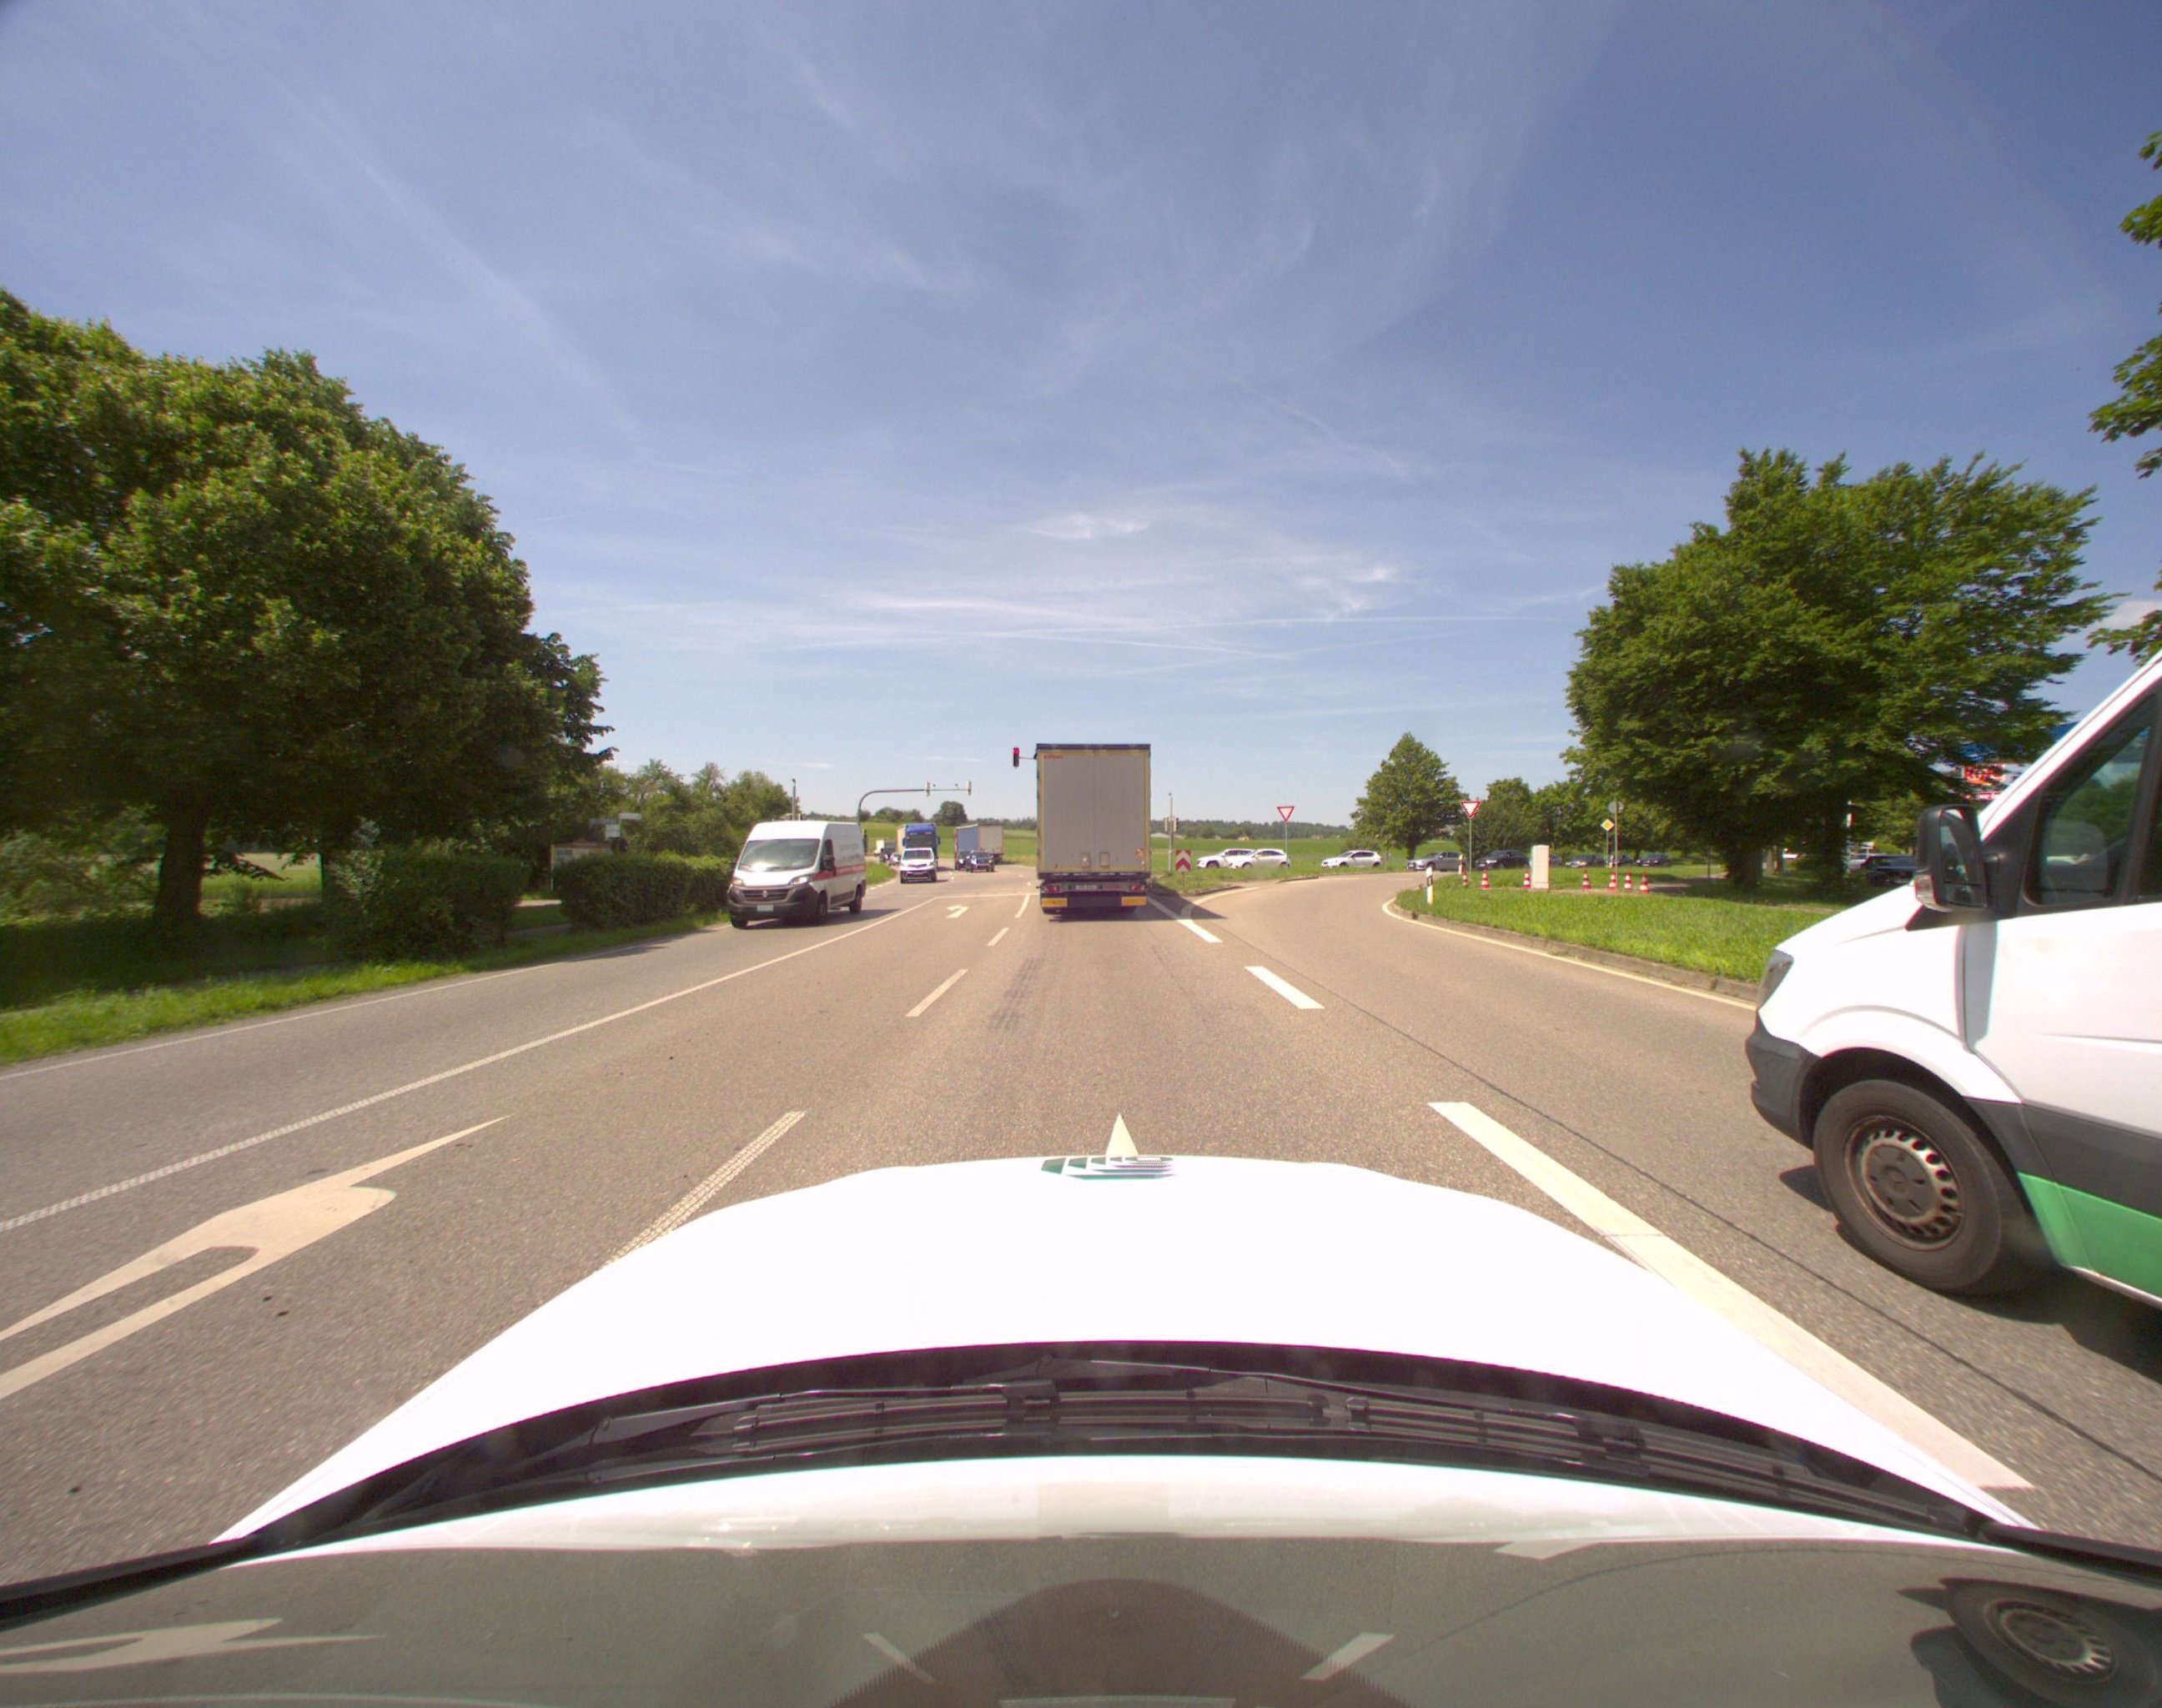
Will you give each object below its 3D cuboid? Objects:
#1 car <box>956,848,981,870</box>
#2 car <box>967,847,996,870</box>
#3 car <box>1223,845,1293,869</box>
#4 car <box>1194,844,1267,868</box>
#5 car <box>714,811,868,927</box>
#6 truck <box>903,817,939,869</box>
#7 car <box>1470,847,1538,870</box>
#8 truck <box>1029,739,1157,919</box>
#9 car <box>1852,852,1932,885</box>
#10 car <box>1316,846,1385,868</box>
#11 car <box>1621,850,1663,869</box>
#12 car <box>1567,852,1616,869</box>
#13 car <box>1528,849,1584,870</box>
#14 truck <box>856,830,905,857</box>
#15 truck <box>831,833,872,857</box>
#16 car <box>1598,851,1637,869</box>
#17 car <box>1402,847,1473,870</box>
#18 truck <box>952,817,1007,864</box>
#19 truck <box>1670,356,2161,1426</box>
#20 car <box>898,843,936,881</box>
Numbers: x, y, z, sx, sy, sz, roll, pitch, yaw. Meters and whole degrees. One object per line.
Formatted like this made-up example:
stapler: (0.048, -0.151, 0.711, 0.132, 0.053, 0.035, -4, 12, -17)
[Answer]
car: (-9.367, 0.401, 67.590, 1.772, 1.658, 3.984, -2, 0, -11)
car: (-7.558, 0.332, 61.531, 1.772, 1.658, 3.984, -2, 0, -12)
car: (11.297, 0.214, 52.127, 3.960, 1.419, 1.821, -1, -1, -11)
car: (10.281, 0.177, 56.147, 4.618, 1.607, 1.995, 0, -2, -5)
car: (-7.013, 0.305, 20.388, 2.046, 2.452, 5.264, -2, 0, -2)
truck: (-13.417, -0.896, 68.099, 2.570, 4.029, 6.530, -2, 1, -13)
car: (30.069, 0.352, 57.899, 4.564, 1.510, 1.788, 1, -2, -21)
truck: (0.086, -0.578, 22.763, 2.801, 3.946, 9.582, 0, 0, -2)
car: (34.710, 0.617, 34.960, 1.737, 1.363, 4.348, -1, -1, 36)
car: (17.880, 0.202, 54.063, 4.103, 1.419, 1.790, -1, -1, -18)
car: (50.420, 0.486, 73.174, 4.313, 1.698, 1.977, 0, -2, -39)
car: (41.138, 0.533, 65.624, 4.582, 1.273, 1.781, 0, -2, -37)
car: (35.754, 0.396, 61.275, 4.578, 1.510, 1.782, 0, -1, -33)
truck: (-35.207, -1.735, 142.481, 3.665, 4.129, 12.952, 0, -1, -36)
truck: (-44.058, -1.664, 155.904, 3.554, 4.241, 13.264, 0, -1, -34)
car: (45.972, 0.505, 69.750, 4.255, 1.510, 1.779, 1, -2, -42)
car: (24.462, 0.312, 55.885, 4.563, 1.510, 1.788, 1, -2, -21)
truck: (-11.150, -1.296, 87.421, 2.968, 4.584, 16.219, -1, 0, -17)
truck: (3.746, 0.078, 0.871, 2.058, 2.737, 5.946, -1, -1, 2)
car: (-9.081, 0.422, 45.063, 1.872, 1.886, 4.932, -2, 0, -11)
